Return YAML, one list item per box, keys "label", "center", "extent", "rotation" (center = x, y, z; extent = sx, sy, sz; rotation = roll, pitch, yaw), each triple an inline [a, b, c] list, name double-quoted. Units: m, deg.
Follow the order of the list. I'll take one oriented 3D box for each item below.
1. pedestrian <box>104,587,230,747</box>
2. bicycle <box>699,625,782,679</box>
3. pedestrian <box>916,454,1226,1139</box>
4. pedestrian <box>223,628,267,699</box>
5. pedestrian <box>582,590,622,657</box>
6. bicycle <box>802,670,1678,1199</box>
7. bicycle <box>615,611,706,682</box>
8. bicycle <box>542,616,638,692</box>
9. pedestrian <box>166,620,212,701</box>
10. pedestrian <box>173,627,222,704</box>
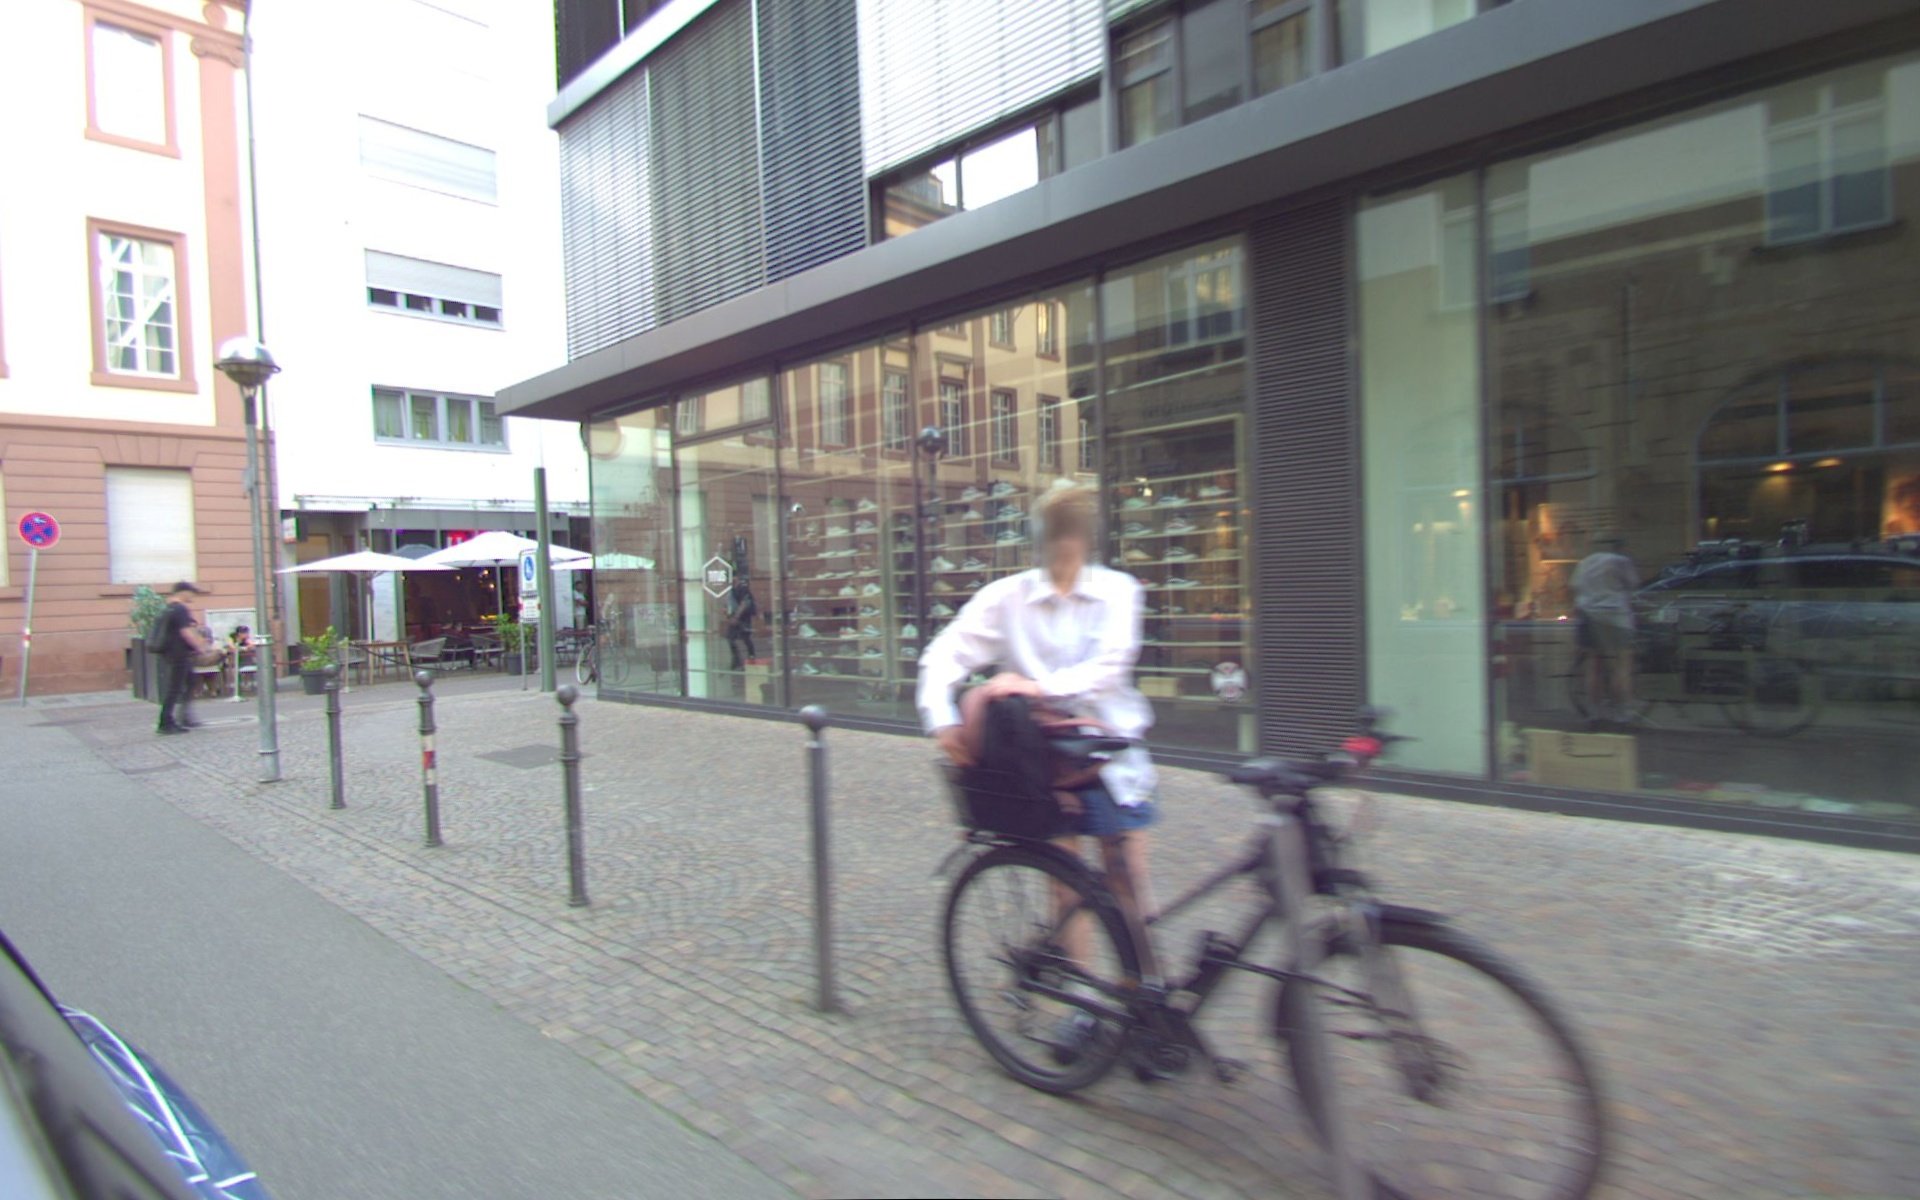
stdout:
- label: "pedestrian"
  center: [-9.470, 0.766, 12.101]
  extent: [0.738, 1.798, 0.957]
  rotation: [-2, 1, 35]
- label: "bicycle"
  center: [-3.938, 0.929, 18.065]
  extent: [1.793, 0.902, 0.448]
  rotation: [-4, -1, 42]
- label: "pedestrian"
  center: [0.289, 0.489, 3.011]
  extent: [0.582, 1.731, 0.772]
  rotation: [-4, 2, -15]
- label: "pedestrian"
  center: [-12.830, 1.121, 18.158]
  extent: [0.541, 1.220, 0.524]
  rotation: [-3, 1, -45]
- label: "pedestrian"
  center: [-9.107, 0.587, 25.746]
  extent: [0.619, 1.678, 0.667]
  rotation: [-2, 1, 16]
- label: "bicycle"
  center: [0.462, 0.801, 2.365]
  extent: [1.915, 1.162, 0.527]
  rotation: [-2, 2, 44]
- label: "bicycle"
  center: [-5.228, 0.813, 17.582]
  extent: [1.841, 1.159, 0.601]
  rotation: [-4, -1, 42]
- label: "bicycle"
  center: [-5.915, 0.854, 16.155]
  extent: [1.673, 1.121, 0.699]
  rotation: [-4, -1, 42]
- label: "pedestrian"
  center: [-13.547, 1.053, 17.783]
  extent: [0.541, 1.359, 0.489]
  rotation: [-3, 1, -45]
- label: "pedestrian"
  center: [-12.560, 1.062, 16.665]
  extent: [0.554, 1.221, 0.461]
  rotation: [-3, 1, -45]
